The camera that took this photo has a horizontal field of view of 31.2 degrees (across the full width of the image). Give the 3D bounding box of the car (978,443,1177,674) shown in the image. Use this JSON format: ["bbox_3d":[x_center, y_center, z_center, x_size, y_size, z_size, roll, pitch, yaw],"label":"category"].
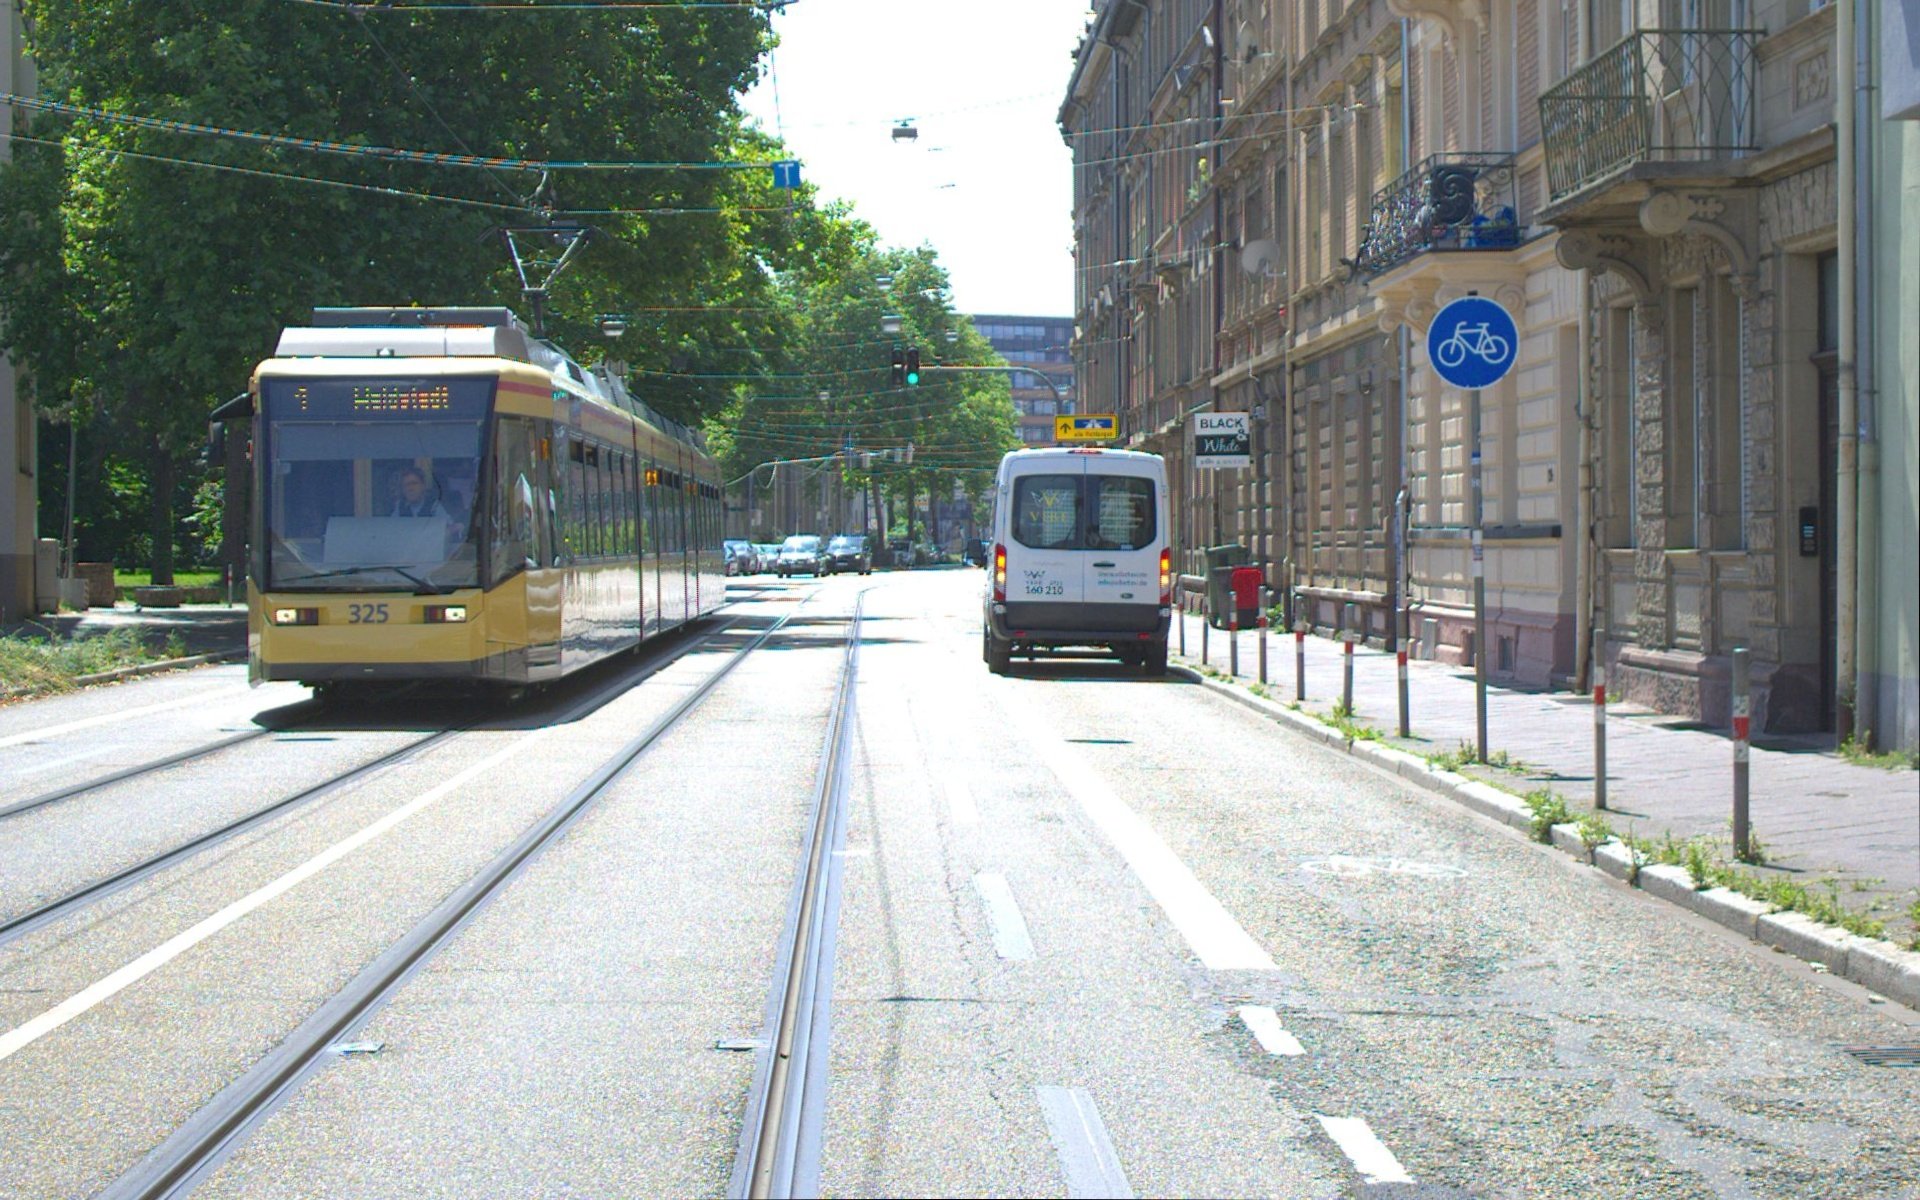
[{"bbox_3d":[1.298,-0.502,40.292,2.067,2.492,5.454,1,1,0],"label":"car"}]

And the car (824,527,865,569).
[{"bbox_3d":[-5.211,-2.347,155.214,1.673,1.853,4.001,1,1,-4],"label":"car"}]

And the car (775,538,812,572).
[{"bbox_3d":[-7.156,-1.936,147.876,1.528,1.404,3.490,1,1,-4],"label":"car"}]

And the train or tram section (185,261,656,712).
[{"bbox_3d":[-4.864,-1.023,33.958,2.960,3.568,13.425,0,1,-2],"label":"train or tram section"}]

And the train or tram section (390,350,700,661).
[{"bbox_3d":[-5.264,-1.212,46.129,2.960,3.568,13.425,0,1,-2],"label":"train or tram section"}]

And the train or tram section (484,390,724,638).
[{"bbox_3d":[-5.597,-1.371,56.371,2.960,3.568,13.425,0,1,-2],"label":"train or tram section"}]
